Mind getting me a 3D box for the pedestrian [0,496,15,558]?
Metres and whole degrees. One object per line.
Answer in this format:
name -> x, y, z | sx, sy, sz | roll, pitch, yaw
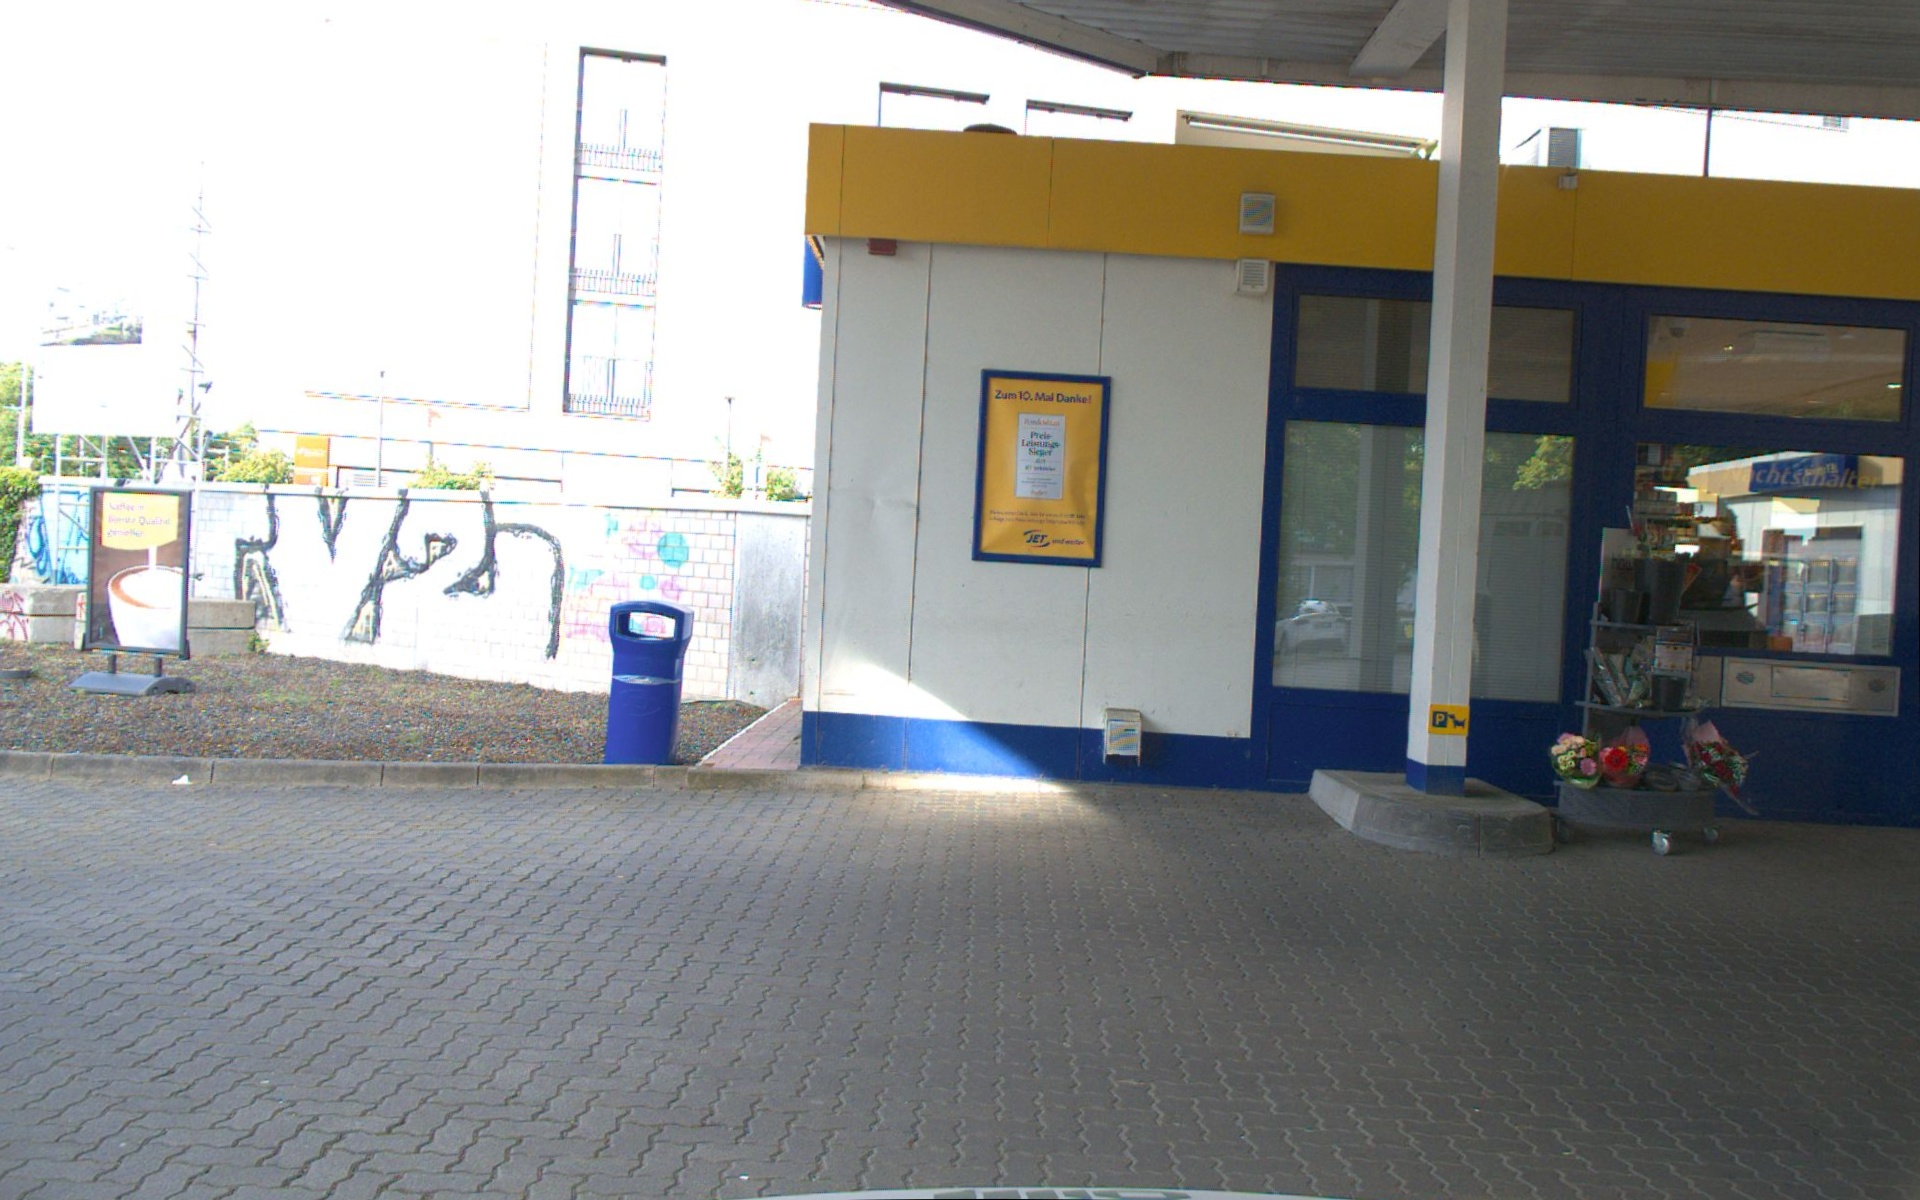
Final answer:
pedestrian -> -32.364, -2.445, 55.620 | 0.793, 2.049, 0.847 | 1, -1, -17
